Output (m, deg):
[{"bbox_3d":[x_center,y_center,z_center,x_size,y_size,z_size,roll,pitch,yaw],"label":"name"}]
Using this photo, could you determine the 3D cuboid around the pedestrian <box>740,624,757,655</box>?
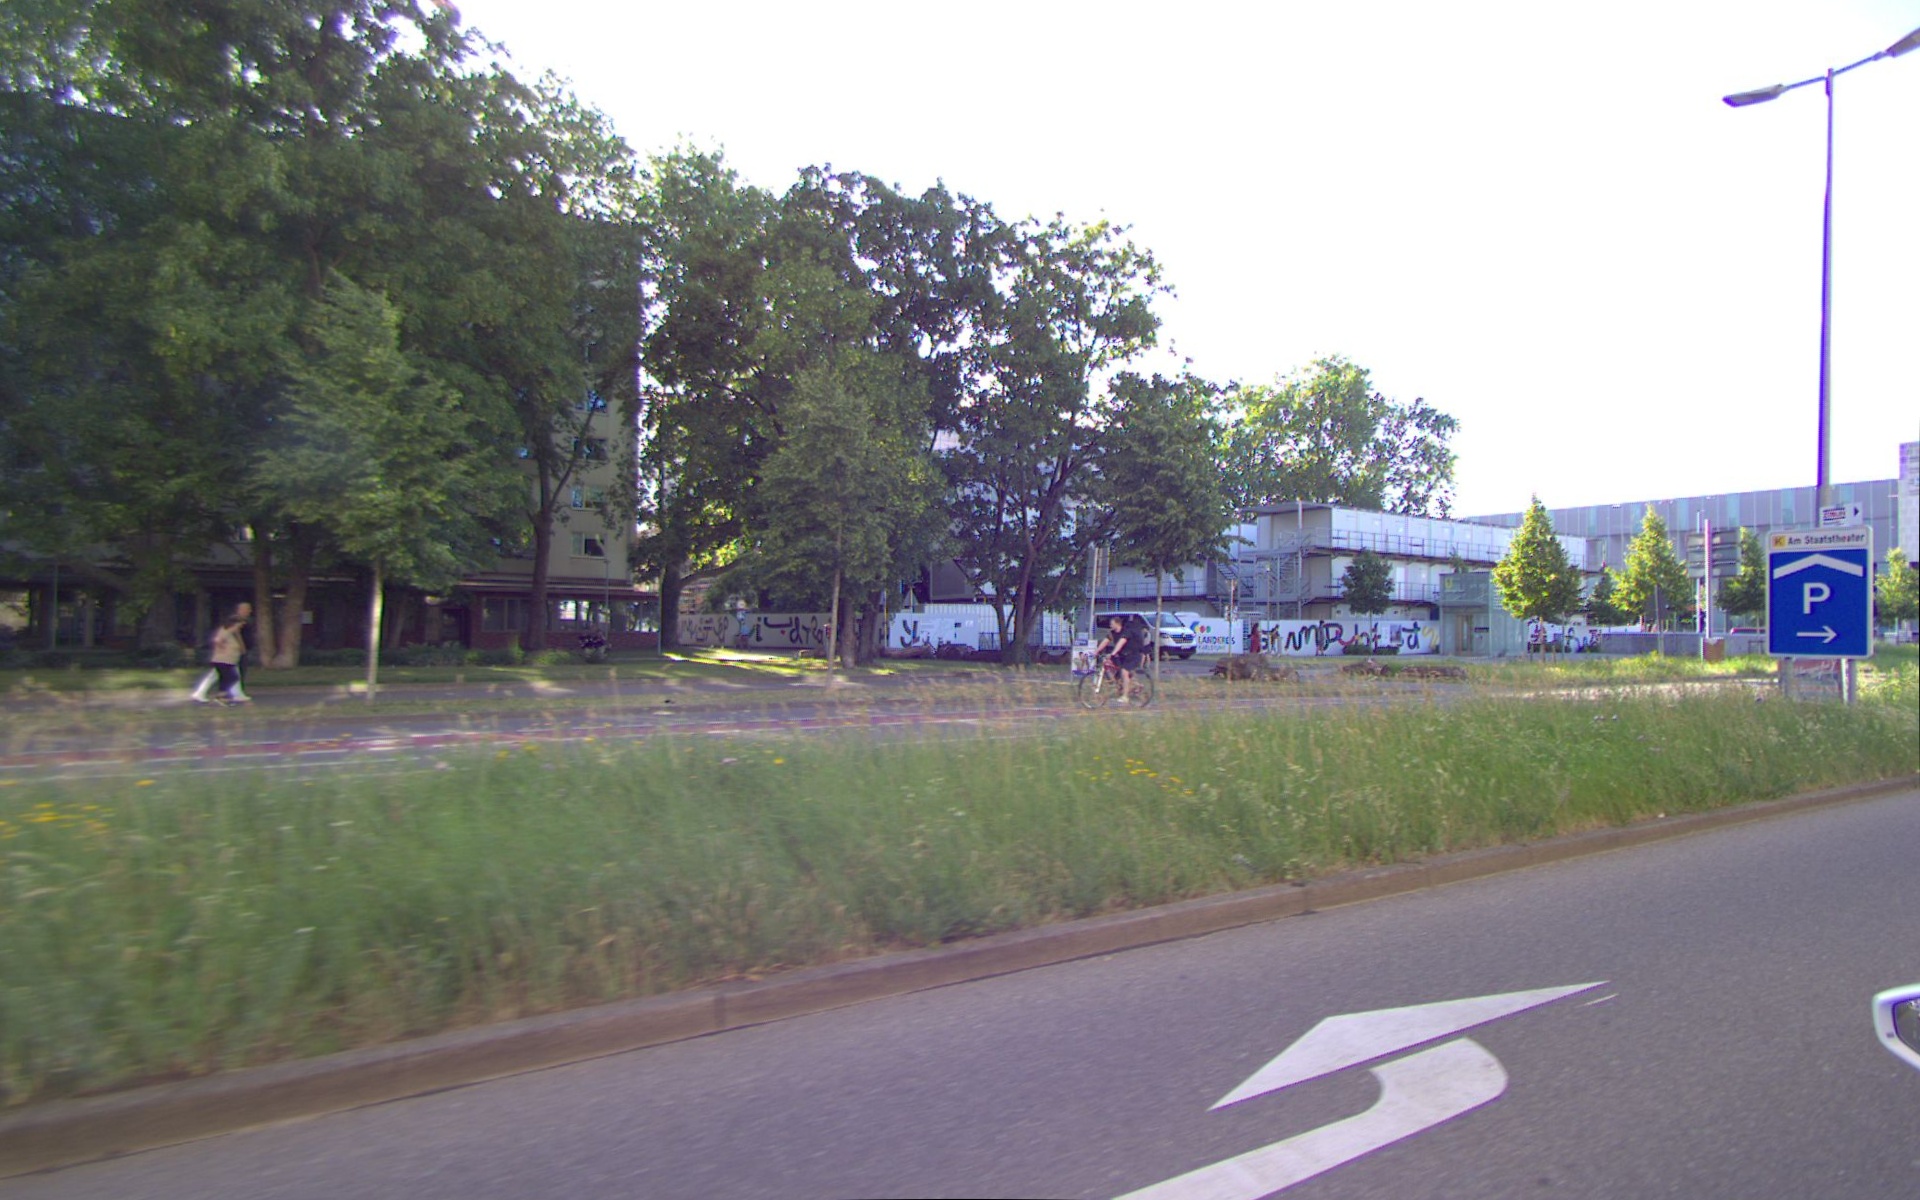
[{"bbox_3d":[-11.597,2.147,55.061,0.734,1.662,0.722,1,-1,-24],"label":"pedestrian"}]

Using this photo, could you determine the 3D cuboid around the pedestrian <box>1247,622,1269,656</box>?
[{"bbox_3d":[14.290,1.866,48.179,0.826,1.578,0.576,1,-1,-32],"label":"pedestrian"}]

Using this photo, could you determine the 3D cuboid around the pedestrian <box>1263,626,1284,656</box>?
[{"bbox_3d":[14.911,1.957,47.749,0.826,1.396,0.576,1,-1,-32],"label":"pedestrian"}]

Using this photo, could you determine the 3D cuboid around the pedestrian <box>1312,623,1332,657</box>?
[{"bbox_3d":[18.553,2.049,51.528,0.826,1.711,0.576,1,-1,-32],"label":"pedestrian"}]

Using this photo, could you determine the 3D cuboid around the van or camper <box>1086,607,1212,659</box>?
[{"bbox_3d":[7.933,1.437,42.817,2.230,2.040,5.641,3,-3,-28],"label":"van or camper"}]

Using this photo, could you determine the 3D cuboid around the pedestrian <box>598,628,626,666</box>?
[{"bbox_3d":[-14.727,1.974,42.512,0.886,1.560,0.895,1,-2,-37],"label":"pedestrian"}]

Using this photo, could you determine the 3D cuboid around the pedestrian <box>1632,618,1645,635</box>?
[{"bbox_3d":[60.798,2.347,90.058,0.717,1.522,0.794,1,-2,-37],"label":"pedestrian"}]

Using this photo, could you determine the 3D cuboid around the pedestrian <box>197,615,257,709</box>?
[{"bbox_3d":[-13.321,1.116,18.274,0.717,1.662,0.740,1,-1,-26],"label":"pedestrian"}]

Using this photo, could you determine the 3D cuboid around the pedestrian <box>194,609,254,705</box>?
[{"bbox_3d":[-13.819,1.054,18.878,0.751,1.763,0.769,1,-1,-26],"label":"pedestrian"}]

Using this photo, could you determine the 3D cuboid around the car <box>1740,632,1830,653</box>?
[{"bbox_3d":[58.212,3.004,70.949,1.855,1.392,4.606,4,-4,-37],"label":"car"}]

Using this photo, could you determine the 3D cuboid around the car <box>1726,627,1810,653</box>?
[{"bbox_3d":[60.375,3.009,75.124,1.855,1.834,4.606,4,-4,-37],"label":"car"}]

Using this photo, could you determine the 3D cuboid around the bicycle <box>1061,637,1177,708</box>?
[{"bbox_3d":[3.068,1.395,19.284,2.232,1.292,0.754,3,-3,-30],"label":"bicycle"}]

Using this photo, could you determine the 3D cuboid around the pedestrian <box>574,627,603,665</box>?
[{"bbox_3d":[-15.517,1.923,41.963,0.886,1.560,0.895,1,-2,-37],"label":"pedestrian"}]

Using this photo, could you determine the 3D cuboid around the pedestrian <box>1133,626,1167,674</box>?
[{"bbox_3d":[6.152,1.610,32.524,0.929,1.548,0.611,0,-1,-25],"label":"pedestrian"}]

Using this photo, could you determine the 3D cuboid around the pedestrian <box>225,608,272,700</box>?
[{"bbox_3d":[-13.932,1.045,19.682,0.646,1.763,0.522,1,-1,-26],"label":"pedestrian"}]

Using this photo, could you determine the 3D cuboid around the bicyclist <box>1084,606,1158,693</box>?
[{"bbox_3d":[3.094,0.957,19.310,1.188,1.611,0.743,3,-3,-30],"label":"bicyclist"}]
